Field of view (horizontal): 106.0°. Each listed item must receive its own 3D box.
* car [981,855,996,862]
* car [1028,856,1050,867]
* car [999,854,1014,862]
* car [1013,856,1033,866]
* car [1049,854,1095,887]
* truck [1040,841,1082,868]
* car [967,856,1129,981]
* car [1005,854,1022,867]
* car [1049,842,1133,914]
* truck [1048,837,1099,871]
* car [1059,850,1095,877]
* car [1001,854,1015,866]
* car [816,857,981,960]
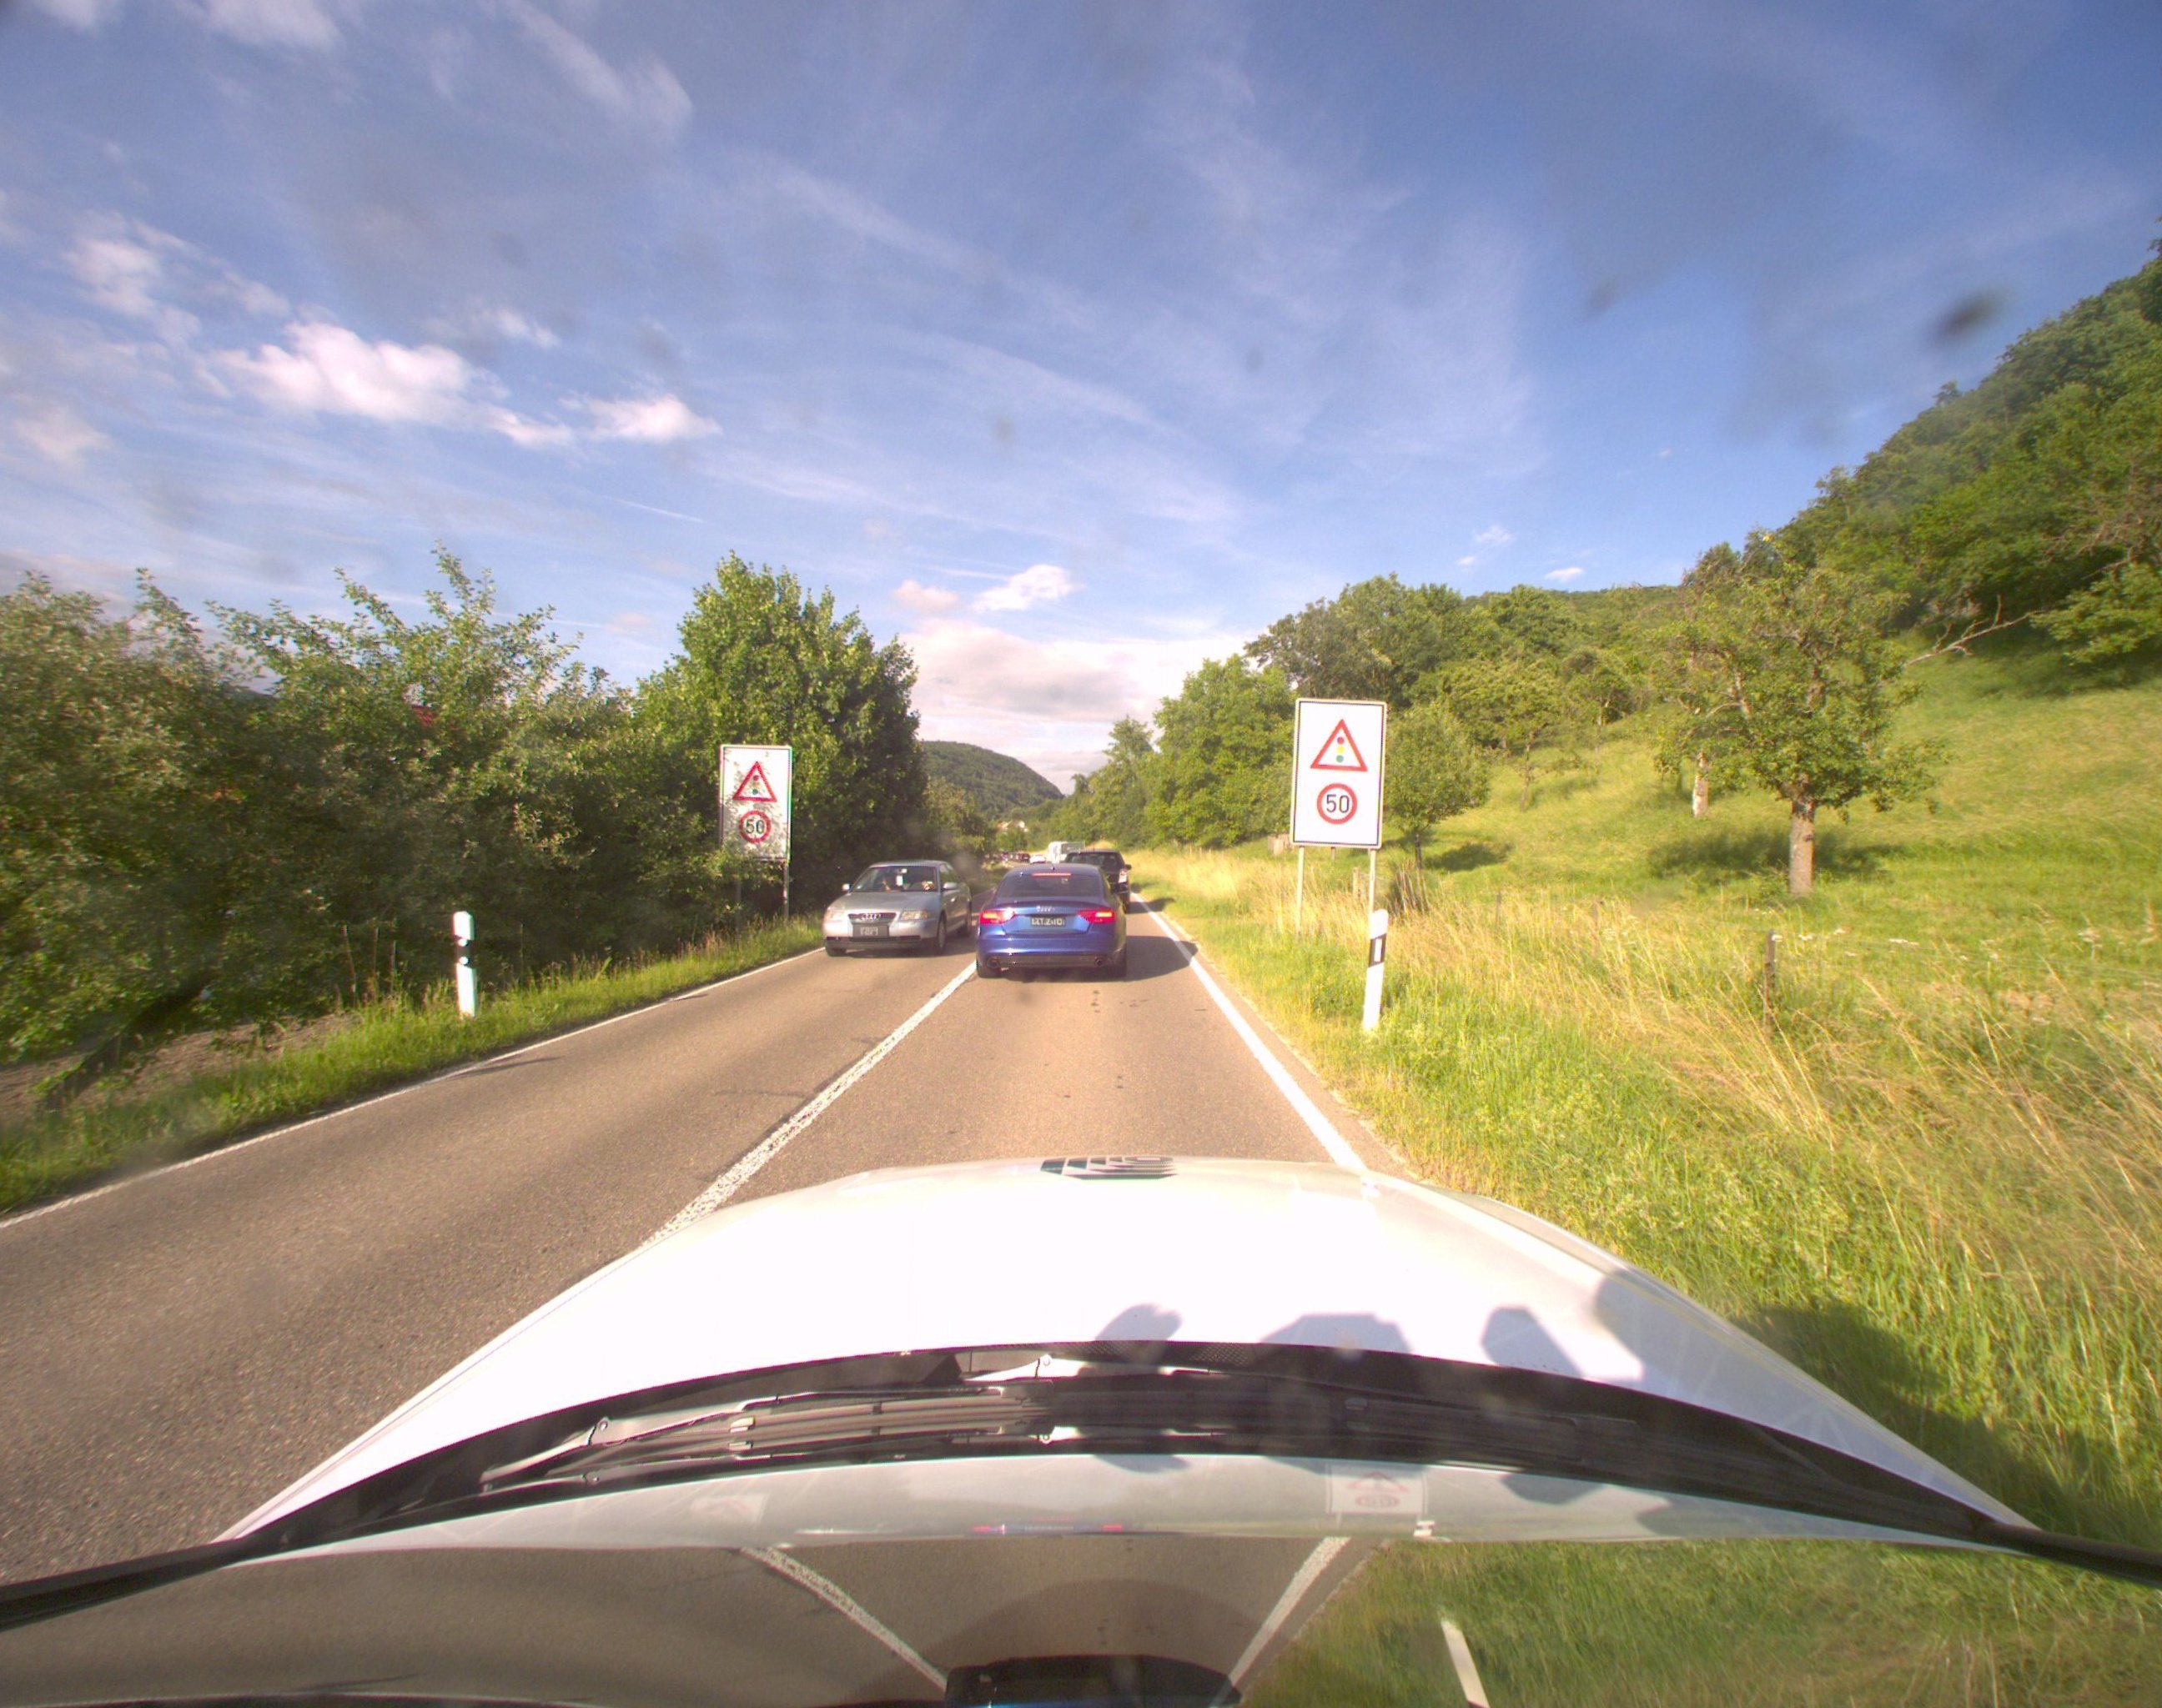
[{"bbox_3d":[-18.176,0.898,160.042,2.001,1.482,3.971,0,-1,-21],"label":"car"},{"bbox_3d":[-5.678,1.016,109.310,2.000,1.482,3.974,0,-1,-19],"label":"car"},{"bbox_3d":[-13.515,0.777,147.045,1.997,1.482,3.979,0,0,-15],"label":"car"},{"bbox_3d":[-8.723,1.076,121.210,2.000,1.482,3.974,0,-1,-19],"label":"car"},{"bbox_3d":[-0.350,0.726,36.828,1.986,1.387,4.000,0,0,1],"label":"car"},{"bbox_3d":[-2.180,0.052,83.660,2.864,2.665,10.608,0,0,-10],"label":"truck"},{"bbox_3d":[-0.295,0.728,10.992,1.787,1.360,4.002,0,0,2],"label":"car"},{"bbox_3d":[-10.888,1.054,130.827,1.997,2.014,3.980,0,-1,-15],"label":"car"},{"bbox_3d":[0.276,0.578,21.432,1.986,1.702,4.000,0,0,1],"label":"car"},{"bbox_3d":[-0.818,-0.001,70.485,2.864,2.665,10.357,0,0,-10],"label":"truck"},{"bbox_3d":[-0.183,0.563,47.483,1.986,1.482,4.000,0,0,1],"label":"car"},{"bbox_3d":[-12.649,1.093,141.001,1.996,2.014,3.981,0,-1,-14],"label":"car"},{"bbox_3d":[-2.792,0.771,13.274,1.685,1.409,3.666,-1,0,2],"label":"car"}]
